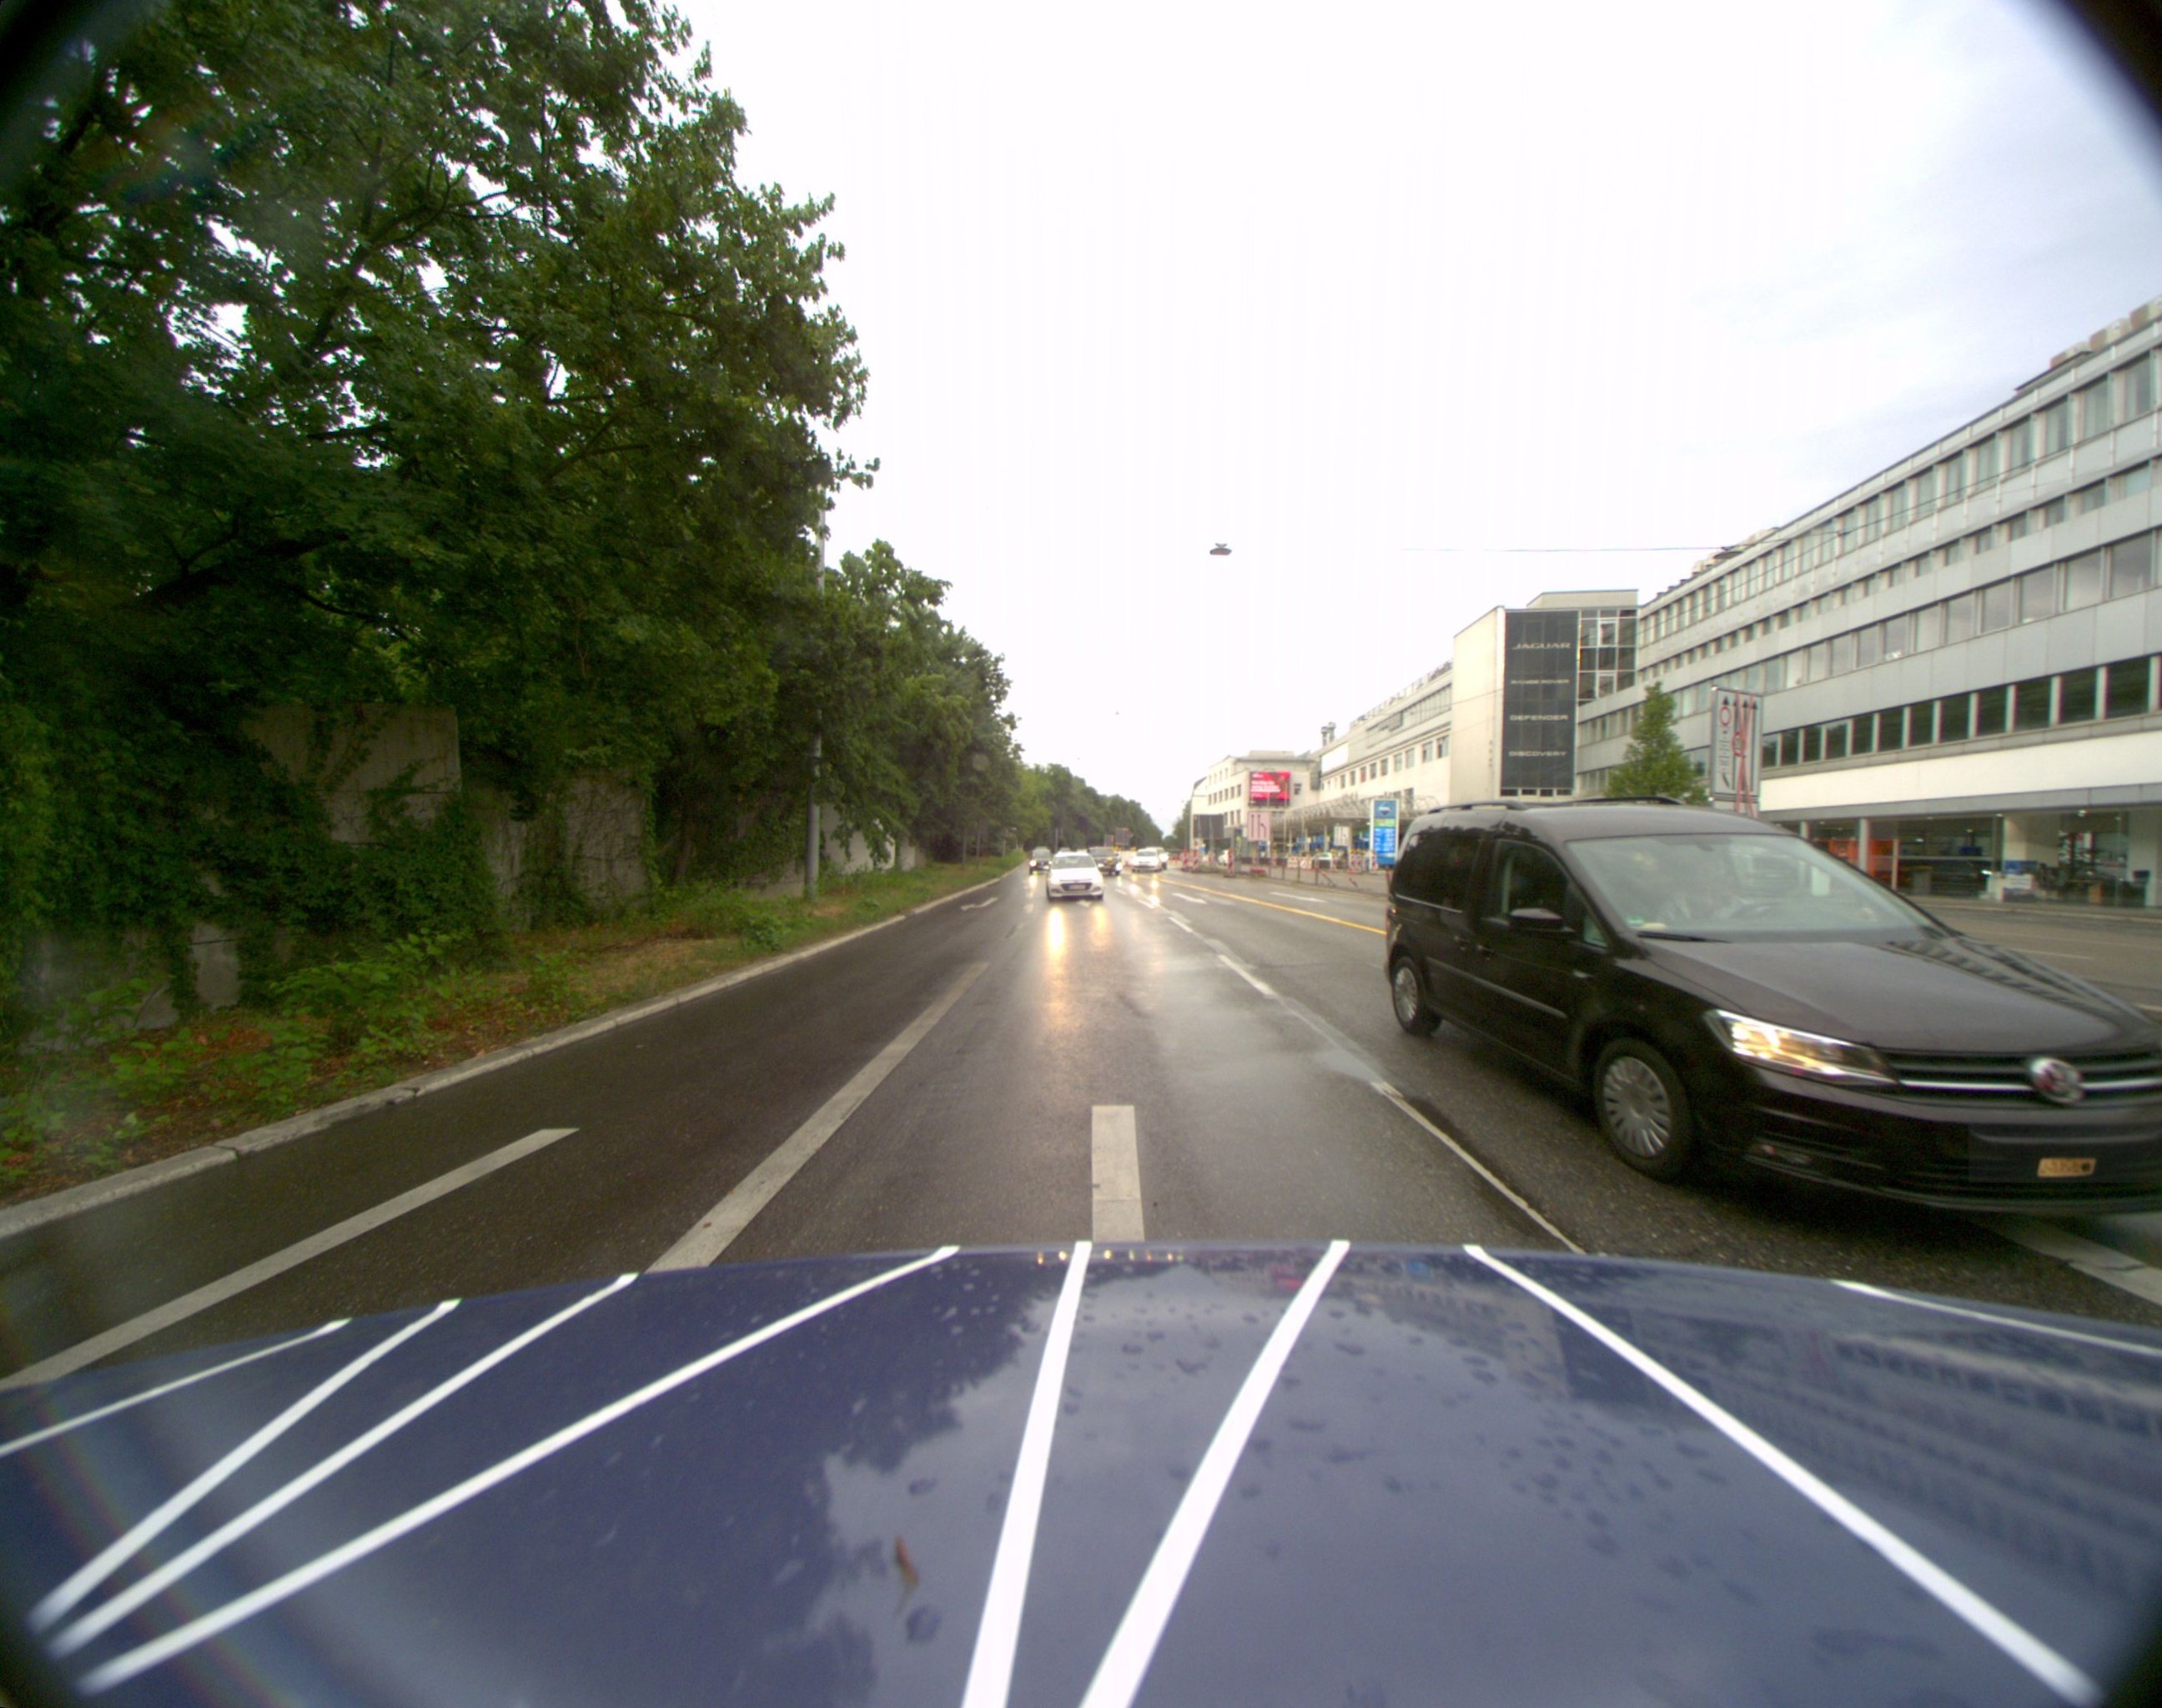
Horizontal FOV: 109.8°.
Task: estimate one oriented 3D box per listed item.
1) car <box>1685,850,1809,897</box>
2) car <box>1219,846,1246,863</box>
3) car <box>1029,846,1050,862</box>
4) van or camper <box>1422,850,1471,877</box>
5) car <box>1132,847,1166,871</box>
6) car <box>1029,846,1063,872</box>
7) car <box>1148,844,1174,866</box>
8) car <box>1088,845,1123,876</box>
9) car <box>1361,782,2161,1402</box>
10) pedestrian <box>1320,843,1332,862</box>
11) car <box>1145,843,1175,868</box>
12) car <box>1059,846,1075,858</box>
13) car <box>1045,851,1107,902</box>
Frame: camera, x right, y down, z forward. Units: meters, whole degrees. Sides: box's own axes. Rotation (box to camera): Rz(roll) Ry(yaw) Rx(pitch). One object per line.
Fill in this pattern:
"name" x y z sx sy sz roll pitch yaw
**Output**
"car" 28.316 0.767 32.522 1.922 1.805 4.166 -2 1 6
"car" 14.666 0.024 73.816 1.805 1.523 3.764 3 0 0
"car" -4.577 -0.029 84.386 1.814 1.590 4.333 -2 1 2
"van or camper" 27.048 0.650 56.336 1.939 1.913 4.687 0 1 8
"car" 4.460 0.293 49.424 1.770 1.407 4.336 -2 1 10
"car" -2.280 0.305 50.544 1.814 1.590 4.333 -2 1 2
"car" 6.308 0.034 60.256 1.771 1.608 3.949 -2 1 2
"car" 1.432 0.319 43.496 1.814 1.590 4.333 -2 1 3
"car" 3.369 0.660 4.422 1.905 1.804 4.430 -2 1 2
"pedestrian" 23.703 -0.167 73.620 0.895 1.804 0.941 -2 1 5
"car" 5.676 0.085 54.949 1.771 1.628 4.333 -2 1 2
"car" -1.799 -0.278 100.247 1.814 1.590 4.333 -2 1 2
"car" -0.082 0.674 25.119 1.814 1.444 4.333 -2 1 2
